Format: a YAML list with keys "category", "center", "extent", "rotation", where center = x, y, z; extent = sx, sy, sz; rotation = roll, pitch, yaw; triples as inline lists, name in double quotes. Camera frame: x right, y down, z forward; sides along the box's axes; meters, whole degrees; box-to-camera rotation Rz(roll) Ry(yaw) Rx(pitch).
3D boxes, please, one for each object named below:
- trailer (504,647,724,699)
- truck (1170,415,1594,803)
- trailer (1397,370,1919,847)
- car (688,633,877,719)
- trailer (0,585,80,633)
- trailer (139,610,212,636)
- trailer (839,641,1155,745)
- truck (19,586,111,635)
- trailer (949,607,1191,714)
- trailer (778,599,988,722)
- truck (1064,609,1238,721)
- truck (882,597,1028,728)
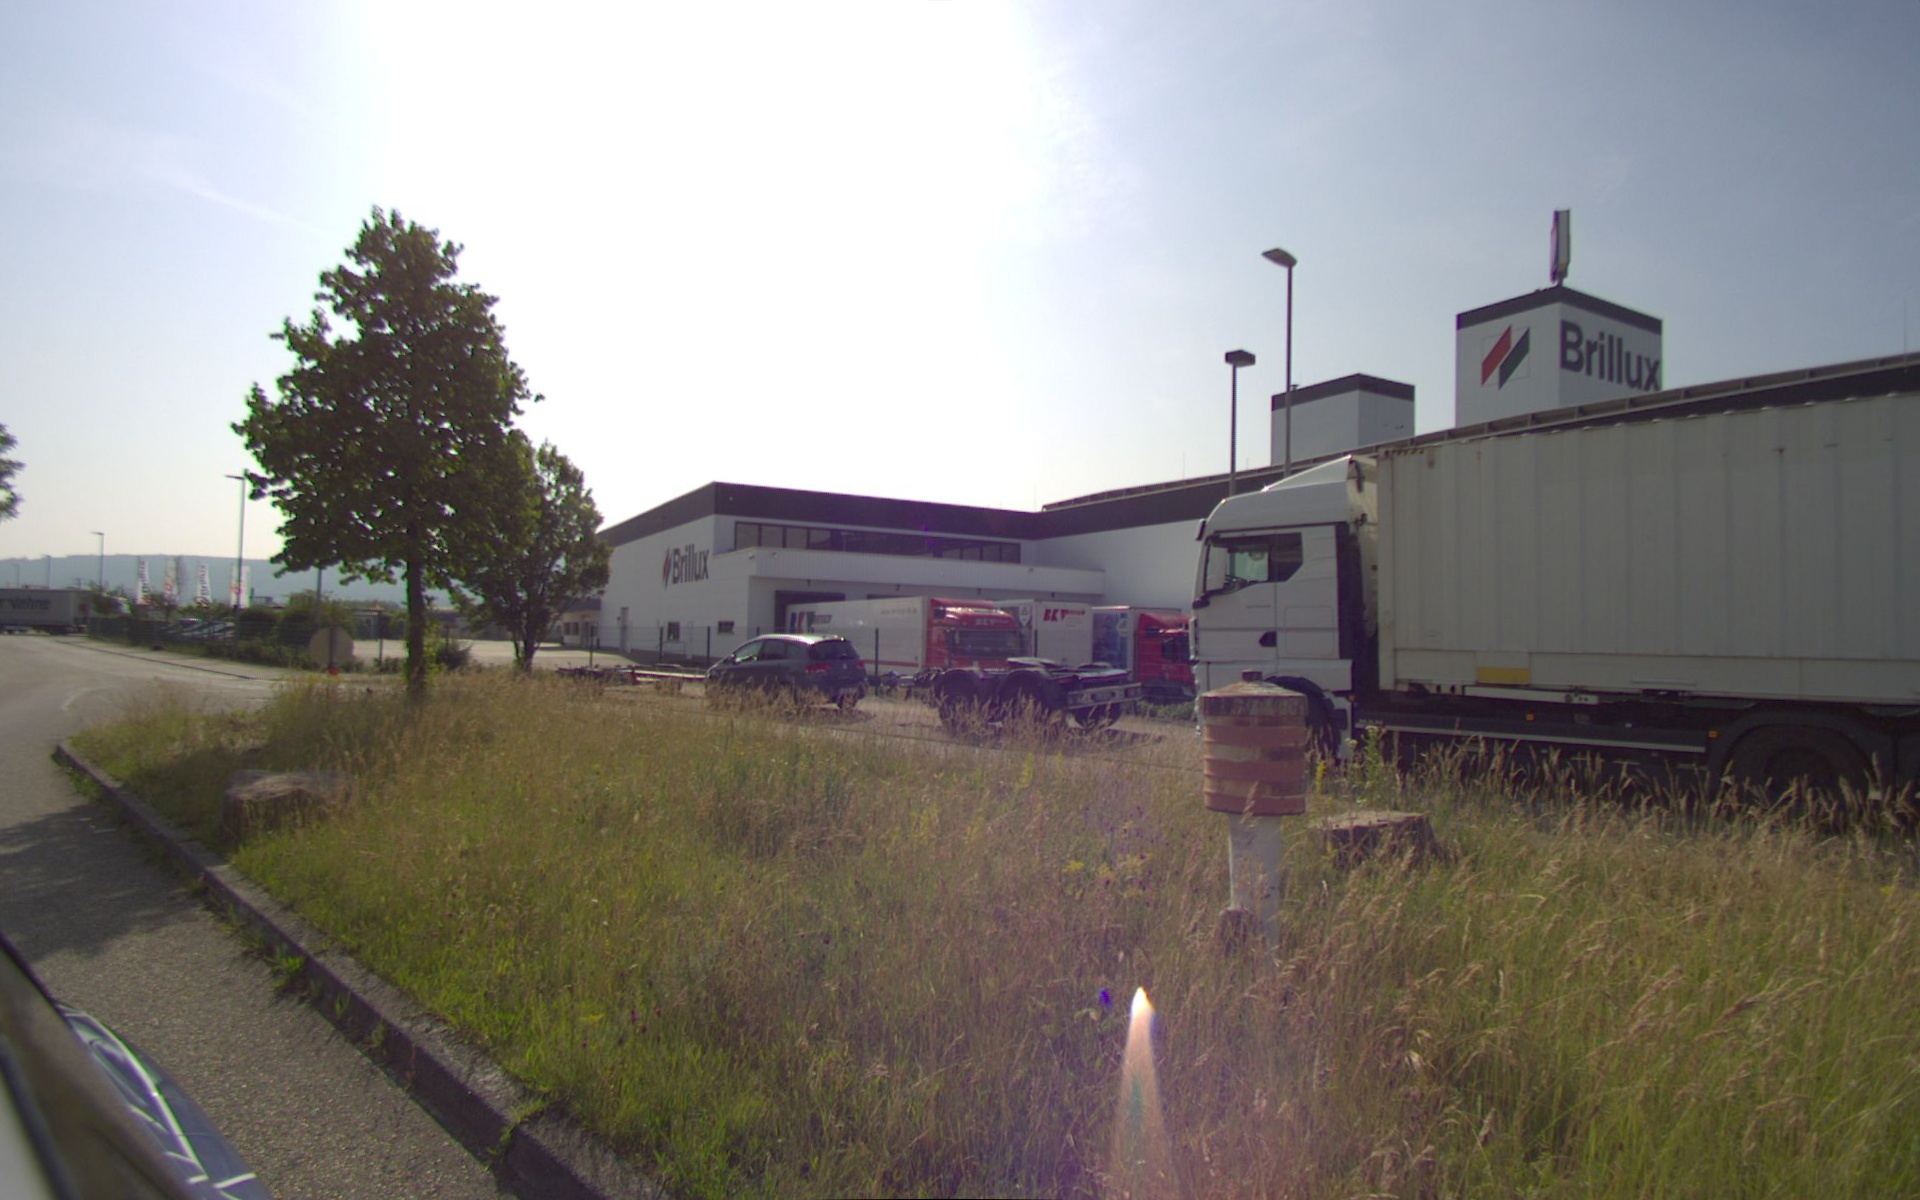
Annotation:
- category: "trailer"
  center: [-9.105, 1.810, 26.222]
  extent: [6.709, 0.932, 2.519]
  rotation: [-1, 0, 43]
- category: "truck"
  center: [5.227, 0.089, 12.776]
  extent: [4.297, 3.951, 2.679]
  rotation: [0, 0, 43]
- category: "trailer"
  center: [8.536, 0.076, 9.670]
  extent: [7.576, 3.951, 2.670]
  rotation: [0, 0, 43]
- category: "car"
  center: [-3.822, 1.506, 21.311]
  extent: [4.336, 1.573, 1.677]
  rotation: [-1, -1, 44]
- category: "trailer"
  center: [-87.930, 0.782, 92.551]
  extent: [14.086, 4.239, 3.487]
  rotation: [0, 0, 12]
- category: "trailer"
  center: [-89.085, 2.685, 115.073]
  extent: [6.220, 2.624, 2.862]
  rotation: [4, -4, -32]
- category: "trailer"
  center: [0.507, 1.475, 17.619]
  extent: [5.079, 1.464, 2.650]
  rotation: [-2, -2, 45]
- category: "truck"
  center: [-80.557, 0.891, 91.088]
  extent: [6.039, 4.239, 3.383]
  rotation: [0, 0, 14]
- category: "trailer"
  center: [4.258, 2.346, 45.053]
  extent: [2.815, 4.037, 14.053]
  rotation: [0, -1, -31]
- category: "trailer"
  center: [-3.639, 2.027, 40.389]
  extent: [2.447, 4.072, 13.931]
  rotation: [1, 0, -31]
- category: "truck"
  center: [7.348, 2.362, 39.923]
  extent: [2.726, 3.900, 7.034]
  rotation: [1, 0, -31]
- category: "truck"
  center: [-0.301, 1.976, 34.775]
  extent: [2.478, 4.102, 5.560]
  rotation: [1, 0, -31]
